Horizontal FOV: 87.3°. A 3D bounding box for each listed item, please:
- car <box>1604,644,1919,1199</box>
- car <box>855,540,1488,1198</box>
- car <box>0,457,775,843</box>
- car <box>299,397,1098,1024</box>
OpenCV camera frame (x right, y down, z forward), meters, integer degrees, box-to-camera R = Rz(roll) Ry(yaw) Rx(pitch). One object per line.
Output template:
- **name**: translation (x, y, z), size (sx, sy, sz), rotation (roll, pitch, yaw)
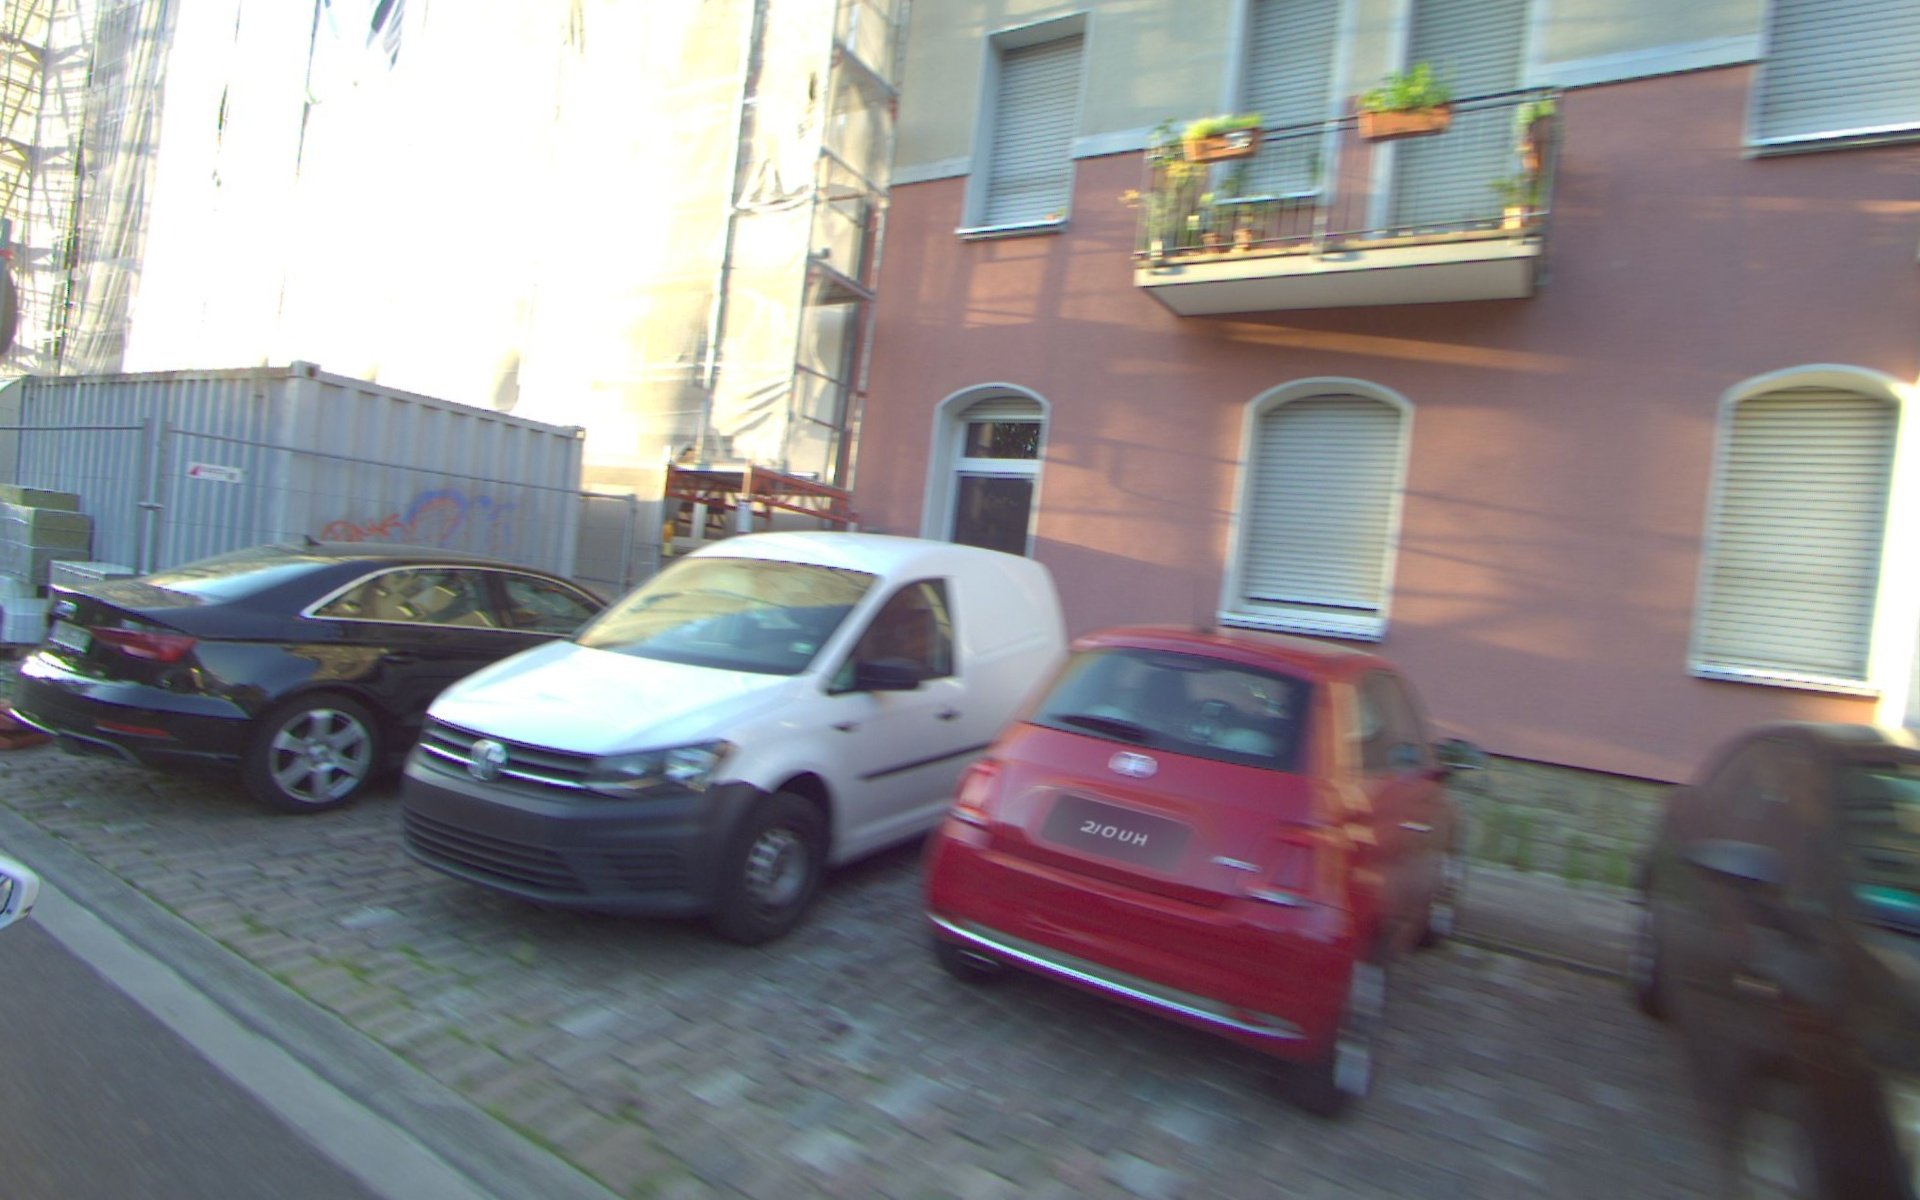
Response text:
- **car**: translation (3.196, 1.102, 2.931), size (1.758, 1.590, 3.973), rotation (7, -1, 29)
- **car**: translation (1.359, 0.838, 4.702), size (1.715, 1.629, 3.699), rotation (7, -1, 29)
- **car**: translation (-3.403, 0.320, 6.561), size (1.841, 1.635, 4.158), rotation (7, -1, 33)
- **car**: translation (-0.866, 0.360, 5.588), size (1.789, 2.006, 4.272), rotation (8, 2, 26)
